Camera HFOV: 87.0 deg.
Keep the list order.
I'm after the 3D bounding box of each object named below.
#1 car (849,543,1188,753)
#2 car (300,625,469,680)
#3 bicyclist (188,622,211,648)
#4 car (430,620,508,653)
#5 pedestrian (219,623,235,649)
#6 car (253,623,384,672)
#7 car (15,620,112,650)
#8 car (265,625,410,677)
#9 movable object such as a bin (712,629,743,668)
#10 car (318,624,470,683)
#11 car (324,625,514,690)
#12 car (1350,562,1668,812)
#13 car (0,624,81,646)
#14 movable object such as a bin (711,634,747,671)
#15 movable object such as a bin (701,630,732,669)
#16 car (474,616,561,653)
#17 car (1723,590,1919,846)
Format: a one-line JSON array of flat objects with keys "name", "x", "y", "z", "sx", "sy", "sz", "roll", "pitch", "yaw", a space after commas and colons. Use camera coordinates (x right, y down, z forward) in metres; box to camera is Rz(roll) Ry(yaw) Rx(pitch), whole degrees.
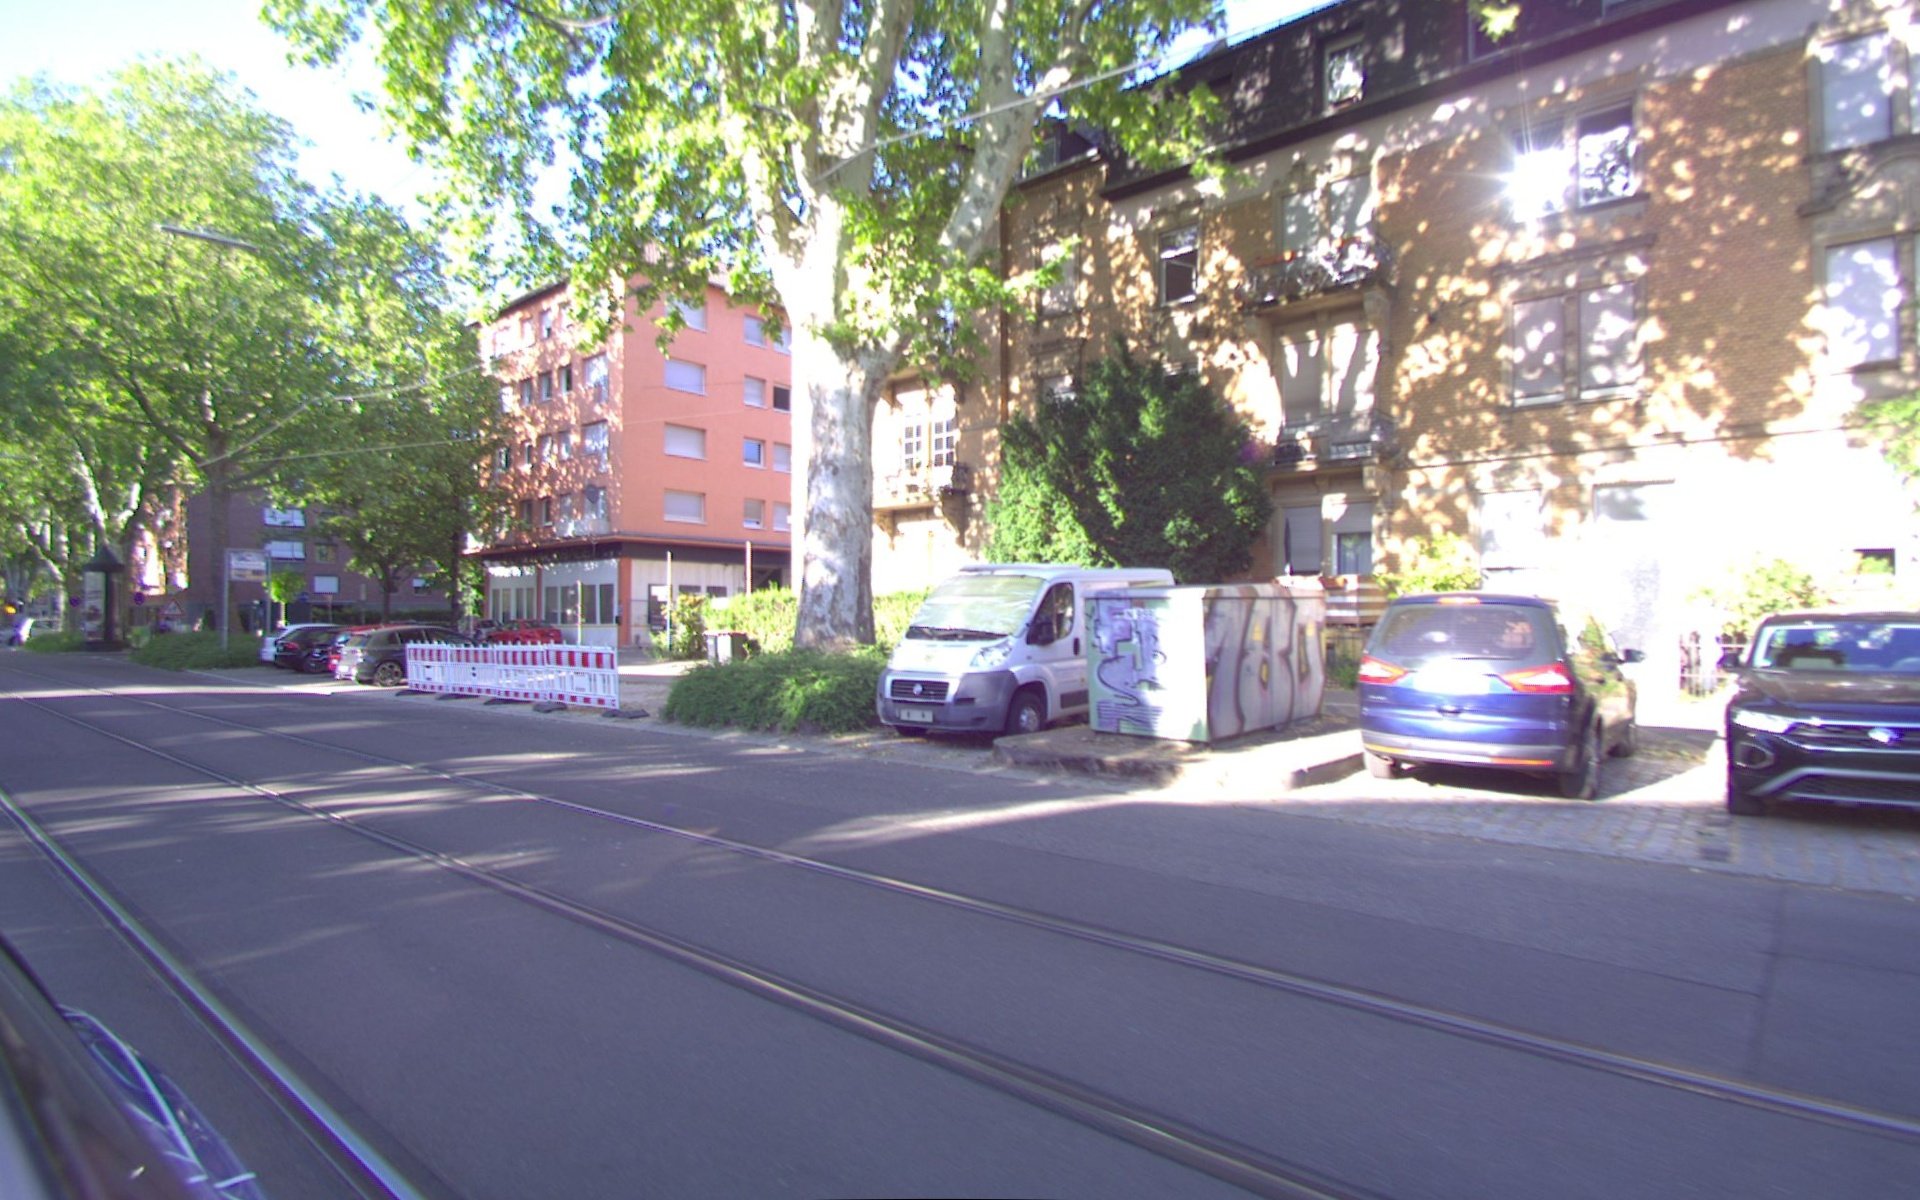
[{"name": "car", "x": 1.003, "y": 0.538, "z": 13.599, "sx": 2.083, "sy": 2.276, "sz": 4.985, "roll": -1, "pitch": -1, "yaw": 38}, {"name": "car", "x": -17.125, "y": 1.509, "z": 30.228, "sx": 1.821, "sy": 1.476, "sz": 4.037, "roll": -1, "pitch": -1, "yaw": 43}, {"name": "bicyclist", "x": -45.541, "y": 2.090, "z": 60.607, "sx": 1.113, "sy": 1.518, "sz": 0.794, "roll": -1, "pitch": -1, "yaw": 31}, {"name": "car", "x": -22.554, "y": 1.644, "z": 46.463, "sx": 3.891, "sy": 1.418, "sz": 1.927, "roll": -1, "pitch": -1, "yaw": 42}, {"name": "pedestrian", "x": -48.018, "y": 2.361, "z": 66.320, "sx": 0.779, "sy": 1.686, "sz": 0.702, "roll": -1, "pitch": -1, "yaw": 41}, {"name": "car", "x": -21.340, "y": 1.551, "z": 33.720, "sx": 1.697, "sy": 1.476, "sz": 3.382, "roll": -1, "pitch": -1, "yaw": 43}, {"name": "car", "x": -58.529, "y": 2.272, "z": 66.158, "sx": 1.937, "sy": 1.848, "sz": 4.524, "roll": -1, "pitch": -1, "yaw": 40}, {"name": "car", "x": -19.501, "y": 1.549, "z": 31.788, "sx": 1.687, "sy": 1.476, "sz": 3.562, "roll": -1, "pitch": -1, "yaw": 43}, {"name": "movable object such as a bin", "x": -6.854, "y": 1.421, "z": 29.825, "sx": 0.560, "sy": 1.118, "sz": 0.715, "roll": -1, "pitch": -1, "yaw": 43}, {"name": "car", "x": -15.855, "y": 1.447, "z": 28.443, "sx": 1.760, "sy": 1.476, "sz": 3.382, "roll": -1, "pitch": -1, "yaw": 43}, {"name": "car", "x": -13.868, "y": 1.419, "z": 26.091, "sx": 1.853, "sy": 1.476, "sz": 3.945, "roll": -1, "pitch": -1, "yaw": 41}, {"name": "car", "x": 5.387, "y": 0.659, "z": 9.632, "sx": 1.924, "sy": 1.815, "sz": 4.257, "roll": -1, "pitch": -1, "yaw": 39}, {"name": "car", "x": -66.886, "y": 2.525, "z": 73.233, "sx": 1.953, "sy": 1.471, "sz": 4.716, "roll": -1, "pitch": -1, "yaw": 40}, {"name": "movable object such as a bin", "x": -6.639, "y": 1.491, "z": 29.100, "sx": 0.736, "sy": 1.030, "sz": 0.714, "roll": -1, "pitch": -1, "yaw": 43}, {"name": "movable object such as a bin", "x": -7.275, "y": 1.470, "z": 30.198, "sx": 0.543, "sy": 1.118, "sz": 0.716, "roll": -1, "pitch": -1, "yaw": 43}, {"name": "car", "x": -18.910, "y": 1.449, "z": 43.192, "sx": 3.999, "sy": 1.498, "sz": 1.927, "roll": -1, "pitch": -1, "yaw": 42}, {"name": "car", "x": 7.394, "y": 0.761, "z": 8.092, "sx": 1.924, "sy": 1.619, "sz": 4.257, "roll": -1, "pitch": -1, "yaw": 39}]
